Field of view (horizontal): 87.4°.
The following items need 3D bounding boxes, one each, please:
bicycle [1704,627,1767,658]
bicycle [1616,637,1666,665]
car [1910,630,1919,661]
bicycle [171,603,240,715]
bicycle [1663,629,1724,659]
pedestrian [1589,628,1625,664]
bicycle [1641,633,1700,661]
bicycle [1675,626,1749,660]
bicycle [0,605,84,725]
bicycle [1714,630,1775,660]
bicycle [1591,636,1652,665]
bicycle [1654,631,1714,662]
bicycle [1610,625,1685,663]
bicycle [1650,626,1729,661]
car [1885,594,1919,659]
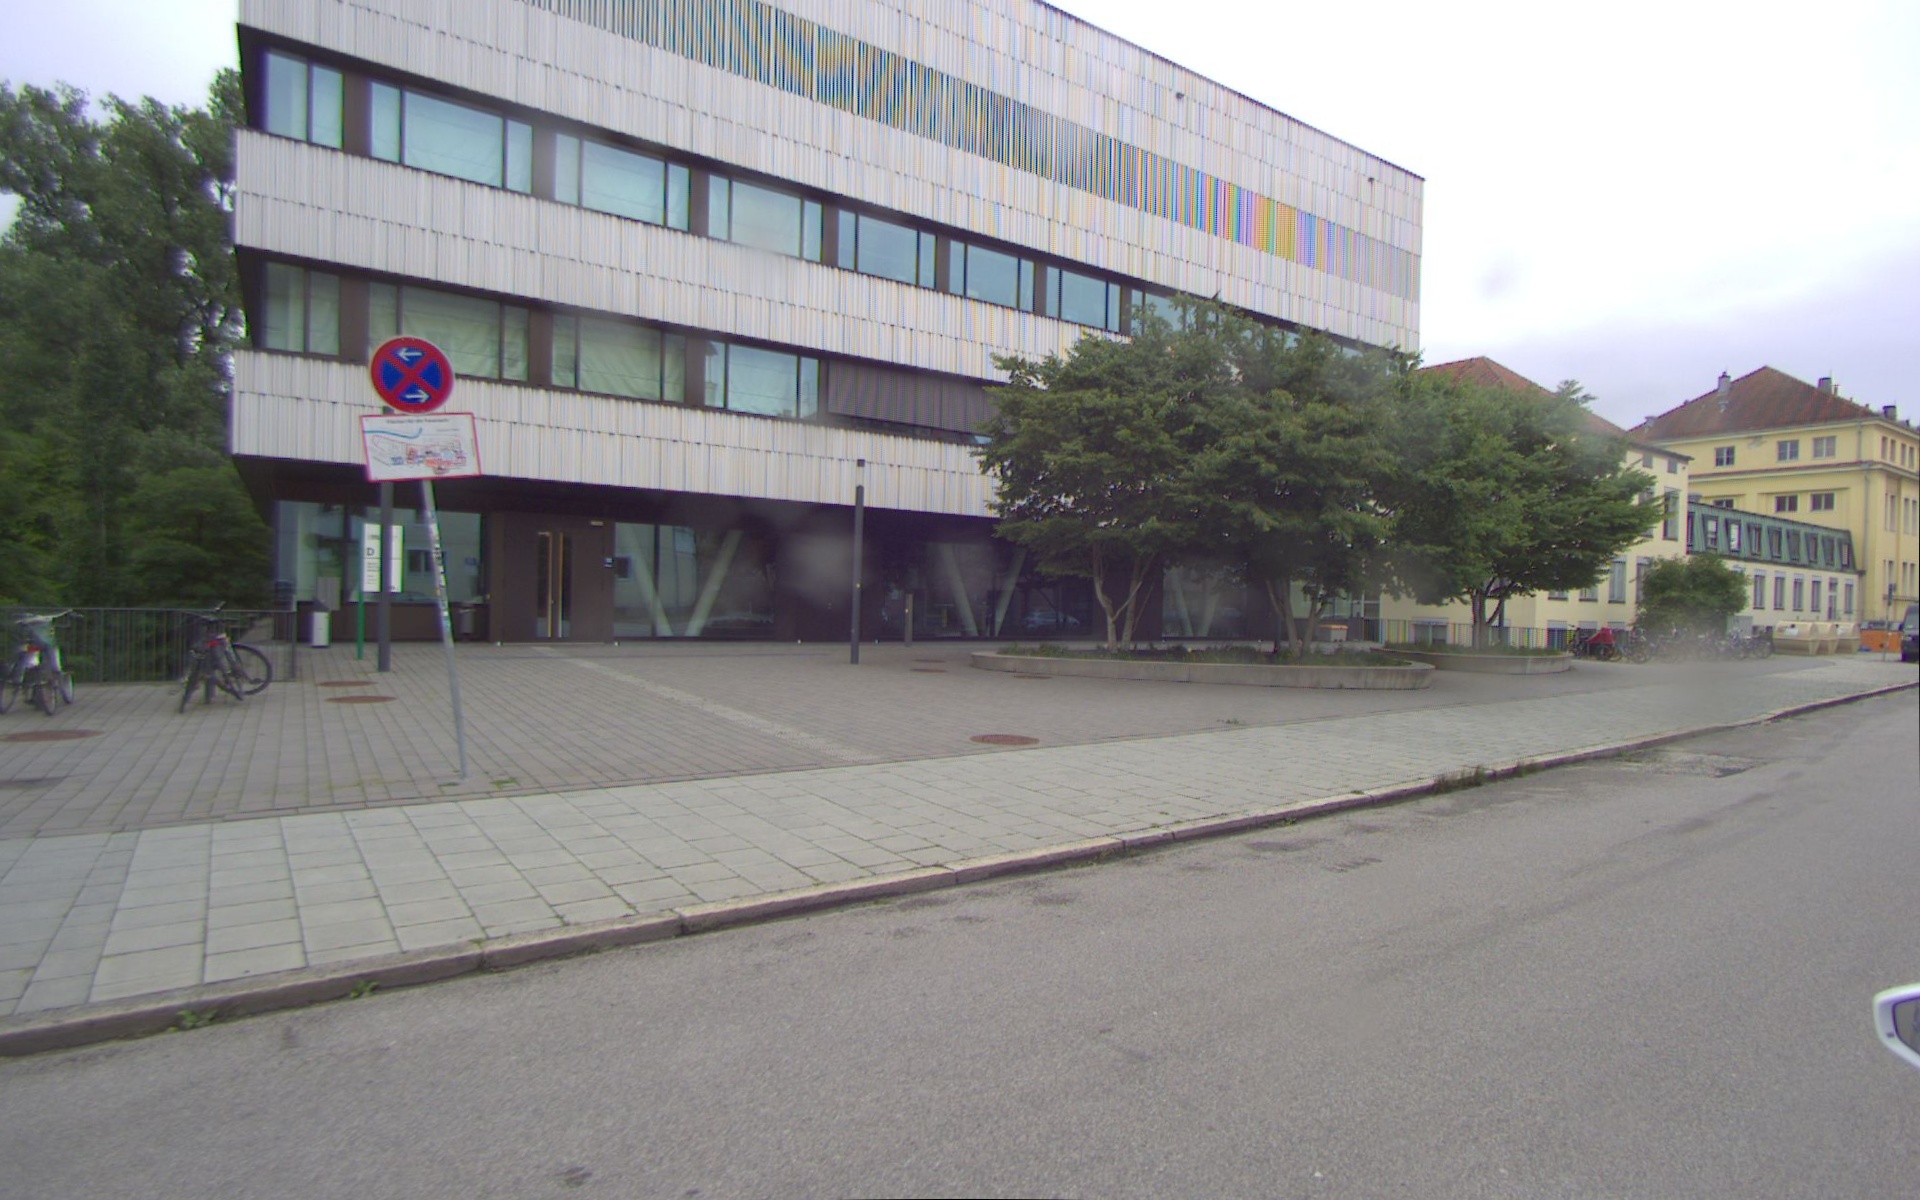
[{"bbox_3d":[32.190,1.755,41.715,0.566,1.147,1.947,0,2,-30],"label":"bicycle"},{"bbox_3d":[23.917,1.771,35.288,0.434,0.874,1.363,0,2,-33],"label":"bicycle"},{"bbox_3d":[48.782,2.271,49.944,3.708,1.473,1.685,0,2,-39],"label":"car"},{"bbox_3d":[-8.948,0.648,11.925,0.611,1.126,2.030,0,2,-37],"label":"bicycle"},{"bbox_3d":[28.812,1.721,39.487,0.533,1.043,1.857,0,2,-30],"label":"bicycle"},{"bbox_3d":[23.134,1.634,35.928,1.030,1.178,0.713,0,2,-36],"label":"pedestrian"},{"bbox_3d":[26.538,1.746,37.538,0.588,0.929,1.666,0,2,-30],"label":"bicycle"},{"bbox_3d":[30.018,1.700,40.139,0.574,1.150,2.299,0,2,-30],"label":"bicycle"},{"bbox_3d":[-10.259,0.669,11.175,0.611,1.126,2.030,0,2,-37],"label":"bicycle"},{"bbox_3d":[33.418,1.902,42.821,0.669,1.107,1.895,0,2,-30],"label":"bicycle"},{"bbox_3d":[23.033,1.754,34.997,0.434,0.874,1.708,0,2,-33],"label":"bicycle"},{"bbox_3d":[27.761,1.778,38.530,0.501,1.047,1.782,0,2,-30],"label":"bicycle"},{"bbox_3d":[25.183,1.591,36.836,0.777,1.244,2.094,0,2,-30],"label":"bicycle"},{"bbox_3d":[28.270,1.660,38.987,0.419,1.222,2.541,0,0,-30],"label":"bicycle"},{"bbox_3d":[43.102,1.217,44.698,5.910,2.751,2.400,2,-2,-42],"label":"car"}]
